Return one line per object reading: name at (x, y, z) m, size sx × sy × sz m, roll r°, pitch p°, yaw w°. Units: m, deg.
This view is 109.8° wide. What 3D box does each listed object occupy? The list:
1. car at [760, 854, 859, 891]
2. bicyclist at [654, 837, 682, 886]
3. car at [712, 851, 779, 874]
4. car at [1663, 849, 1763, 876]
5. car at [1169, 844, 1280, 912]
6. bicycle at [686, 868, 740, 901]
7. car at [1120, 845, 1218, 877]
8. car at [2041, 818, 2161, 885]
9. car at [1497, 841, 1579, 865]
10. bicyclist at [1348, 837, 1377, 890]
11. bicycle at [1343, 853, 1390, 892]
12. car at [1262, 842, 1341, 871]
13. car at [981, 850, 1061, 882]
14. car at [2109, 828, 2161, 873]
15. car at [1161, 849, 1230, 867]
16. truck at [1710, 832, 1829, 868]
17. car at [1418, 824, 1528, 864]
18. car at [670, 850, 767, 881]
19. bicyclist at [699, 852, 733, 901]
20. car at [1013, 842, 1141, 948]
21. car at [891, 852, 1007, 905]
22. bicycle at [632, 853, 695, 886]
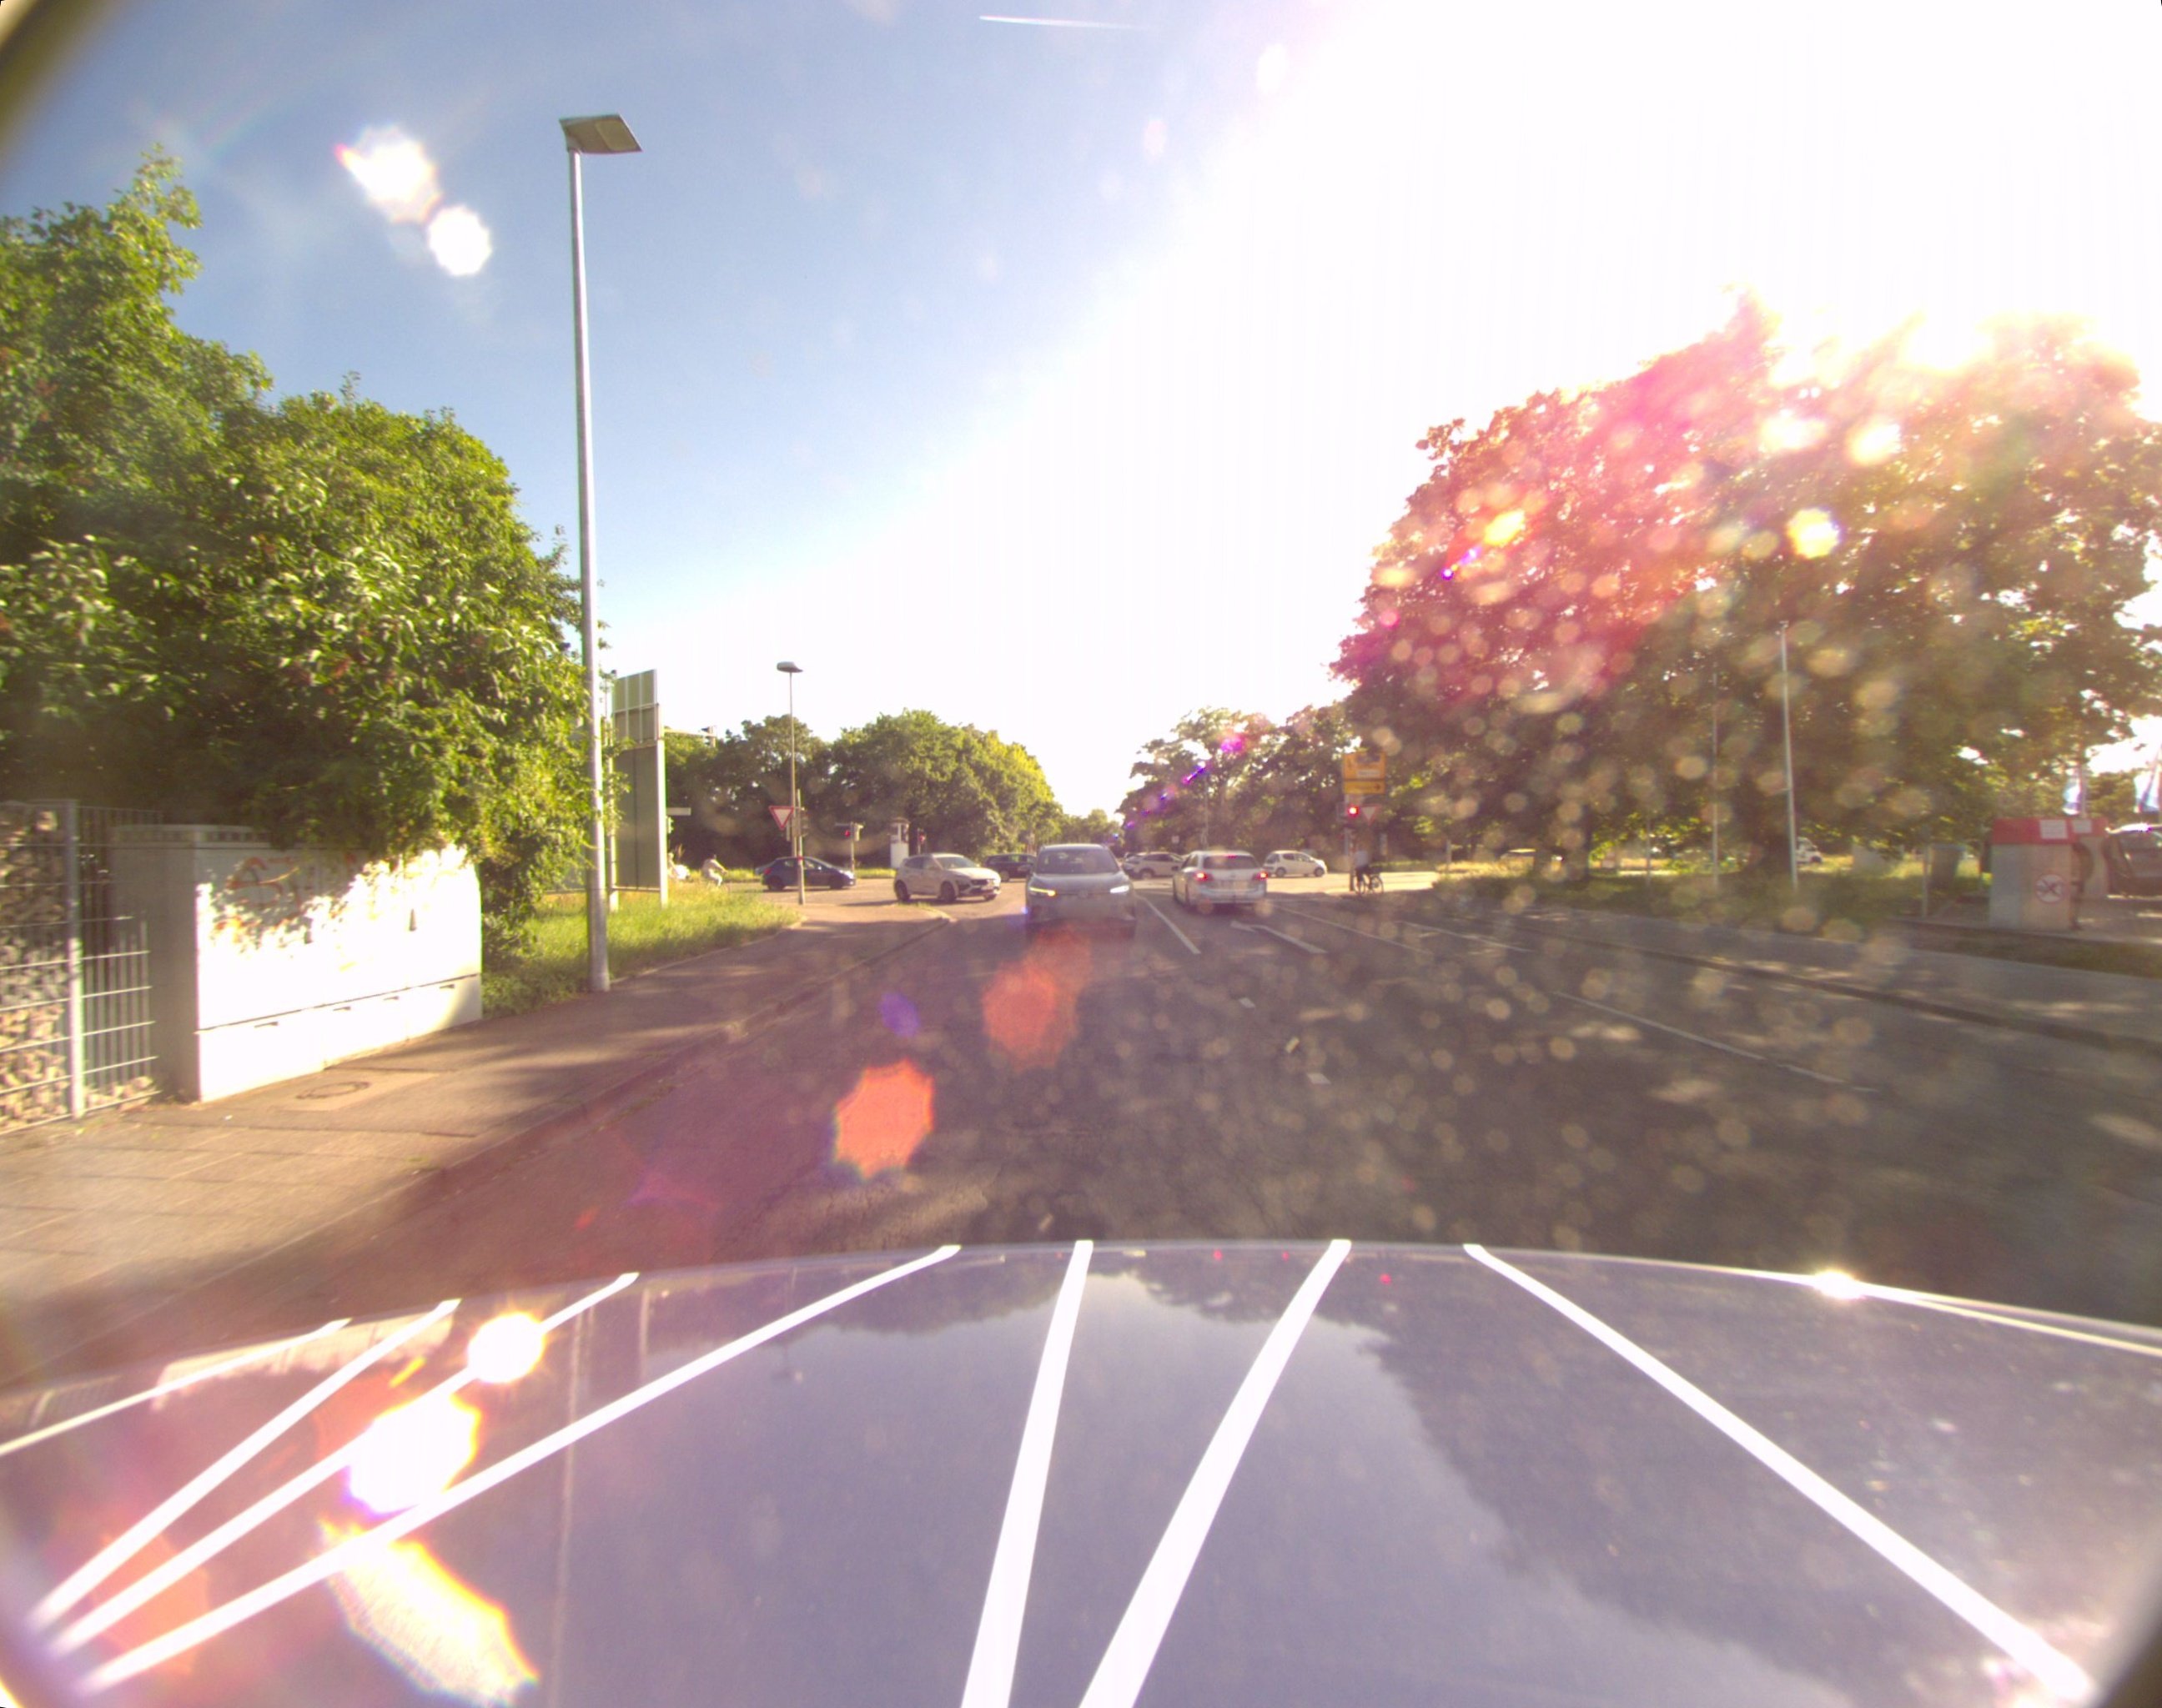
car at (-11.979, 0.787, 33.782) m, size 3.913 × 1.432 × 1.690 m, roll -1°, pitch 3°, yaw -12°
bicyclist at (-14.345, 0.258, 26.421) m, size 0.525 × 1.686 × 0.587 m, roll 2°, pitch -1°, yaw 29°
car at (-21.197, 0.546, 48.107) m, size 3.598 × 1.424 × 1.551 m, roll 0°, pitch 1°, yaw -11°
car at (36.730, 0.471, 44.230) m, size 4.364 × 1.478 × 1.919 m, roll 0°, pitch 3°, yaw -6°
car at (3.436, 0.516, 19.124) m, size 1.841 × 1.480 × 4.889 m, roll 1°, pitch 0°, yaw 0°
bicycle at (-12.513, 1.051, 25.908) m, size 0.530 × 1.069 × 1.873 m, roll 2°, pitch -3°, yaw 12°
car at (4.262, 0.324, 36.984) m, size 4.365 × 1.478 × 1.918 m, roll 0°, pitch 3°, yaw -10°
car at (23.037, -0.046, 15.587) m, size 1.763 × 1.368 × 3.988 m, roll -1°, pitch 3°, yaw -35°
car at (27.283, -0.076, 45.430) m, size 4.122 × 1.432 × 1.691 m, roll 0°, pitch 1°, yaw -12°
bicyclist at (8.765, 0.297, 23.656) m, size 0.542 × 1.632 × 0.829 m, roll 0°, pitch 1°, yaw -5°
bicycle at (8.813, 0.551, 23.505) m, size 0.529 × 1.135 × 2.025 m, roll 0°, pitch 0°, yaw -5°
car at (12.486, 0.144, 43.133) m, size 3.912 × 1.432 × 1.691 m, roll -3°, pitch 2°, yaw -12°
car at (-3.061, 0.593, 39.260) m, size 3.997 × 1.532 × 1.623 m, roll 1°, pitch 3°, yaw -1°
car at (33.543, -0.073, 22.246) m, size 1.575 × 1.330 × 3.896 m, roll -1°, pitch 3°, yaw -31°
car at (8.112, 0.262, 53.985) m, size 4.503 × 1.221 × 1.691 m, roll 0°, pitch 1°, yaw -13°
truck at (44.685, -0.260, 49.319) m, size 6.777 × 2.296 × 2.189 m, roll 0°, pitch 0°, yaw -12°
car at (16.211, -0.462, 31.657) m, size 1.533 × 1.503 × 3.991 m, roll 0°, pitch 3°, yaw -21°
car at (-18.535, 0.562, 39.038) m, size 4.196 × 1.529 × 1.835 m, roll 0°, pitch 0°, yaw -12°
bicyclist at (-12.459, 0.775, 25.942) m, size 0.542 × 1.625 × 0.809 m, roll 3°, pitch -3°, yaw 11°
car at (0.021, 0.619, 14.138) m, size 1.992 × 1.631 × 4.364 m, roll -1°, pitch 1°, yaw 2°
car at (-4.420, 0.748, 25.058) m, size 4.109 × 1.564 × 1.696 m, roll 0°, pitch 2°, yaw 45°
bicycle at (-14.425, 0.563, 26.318) m, size 0.529 × 1.070 × 1.874 m, roll 2°, pitch -1°, yaw 28°
